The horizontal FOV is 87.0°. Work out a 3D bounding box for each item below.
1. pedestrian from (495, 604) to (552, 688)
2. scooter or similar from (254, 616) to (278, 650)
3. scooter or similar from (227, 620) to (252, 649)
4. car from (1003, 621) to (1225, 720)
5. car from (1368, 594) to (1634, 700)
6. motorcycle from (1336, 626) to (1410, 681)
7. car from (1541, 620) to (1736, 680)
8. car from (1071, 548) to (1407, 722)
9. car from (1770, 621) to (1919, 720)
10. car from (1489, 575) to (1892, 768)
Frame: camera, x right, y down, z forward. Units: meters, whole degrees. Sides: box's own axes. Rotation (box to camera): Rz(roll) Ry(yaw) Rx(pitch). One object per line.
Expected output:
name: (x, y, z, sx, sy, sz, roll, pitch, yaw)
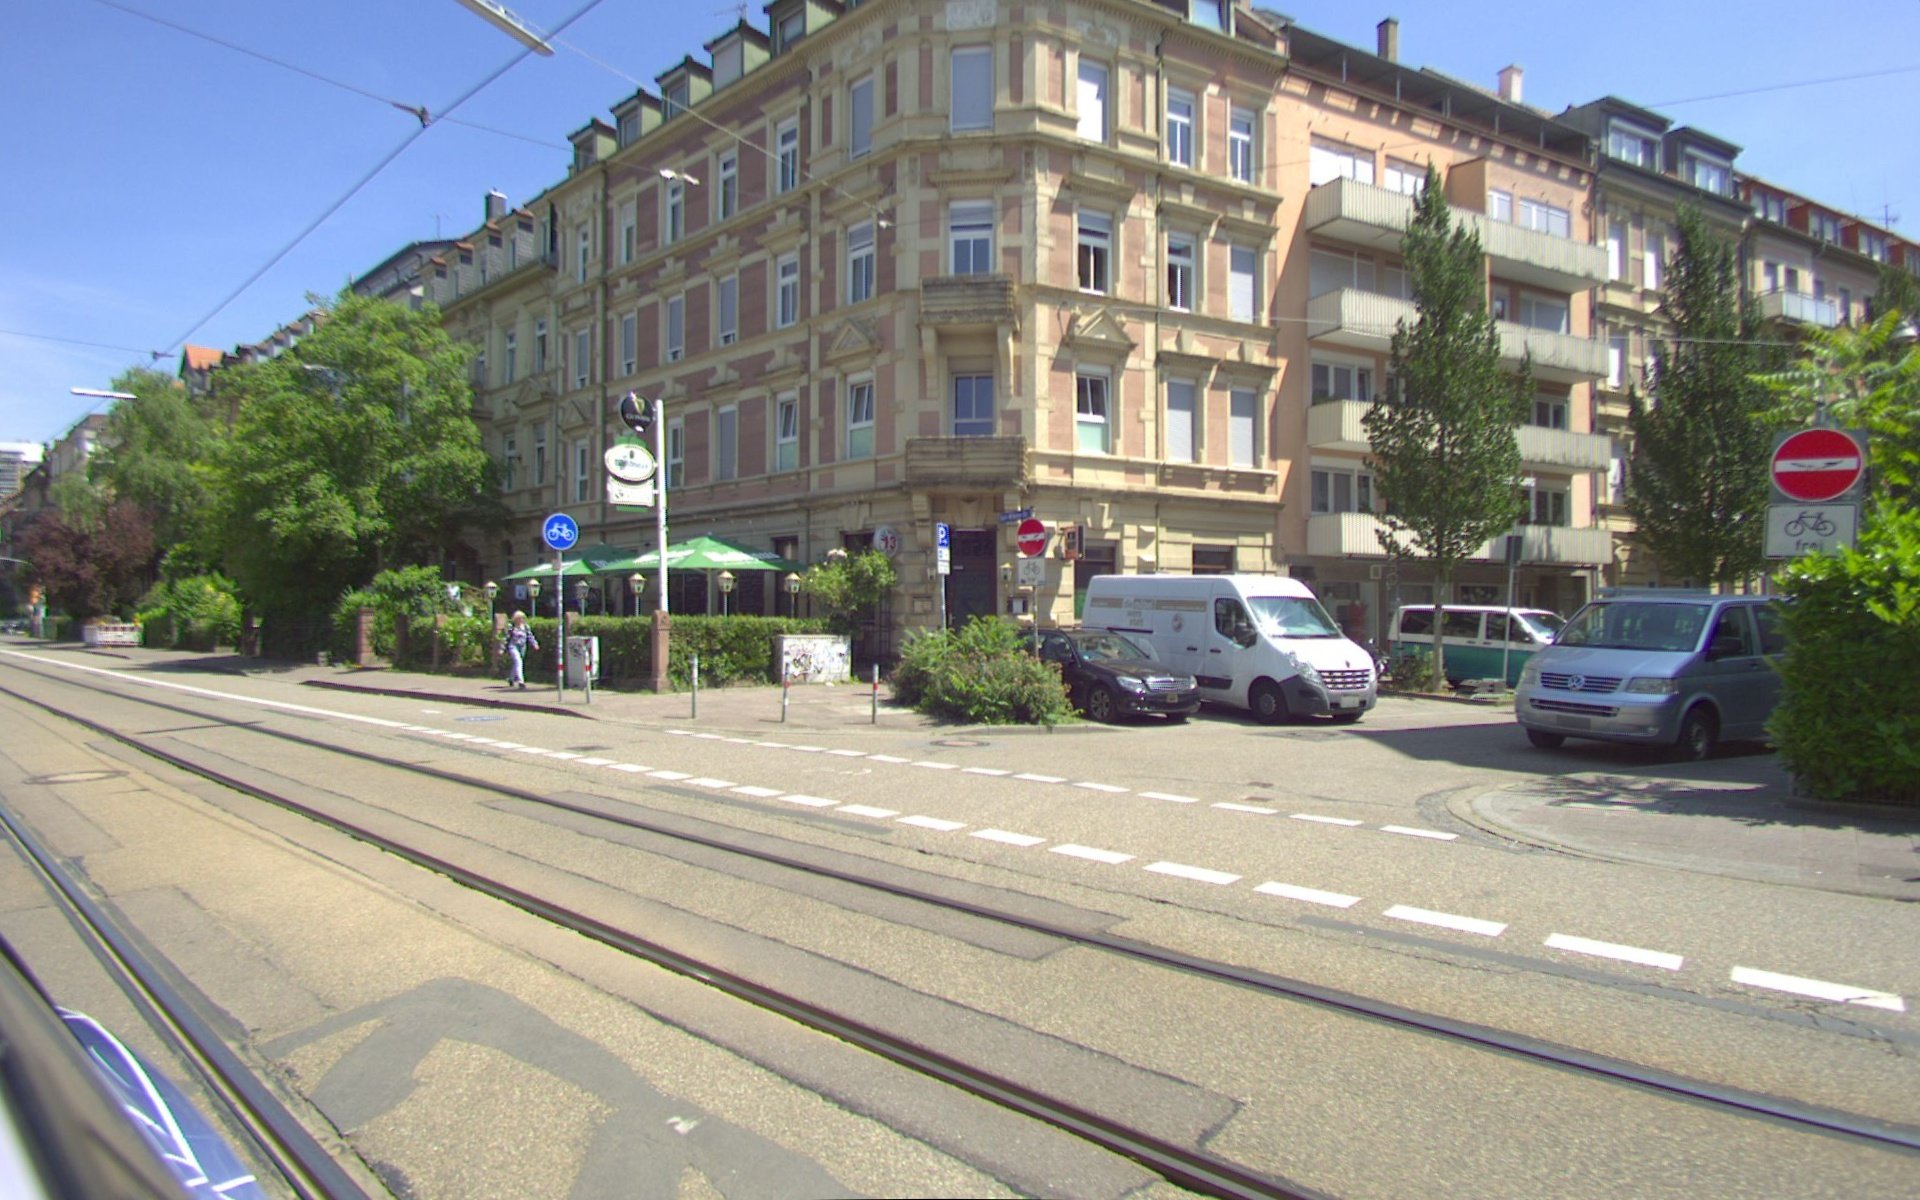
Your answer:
pedestrian: (-8.794, 0.912, 20.388, 0.940, 1.654, 0.732, -1, -2, 44)
scooter or similar: (-29.242, 1.400, 42.642, 0.693, 1.410, 0.610, -1, -1, 31)
scooter or similar: (-29.403, 1.400, 41.311, 0.693, 1.166, 0.610, -1, -1, 31)
car: (2.444, 1.086, 16.942, 1.568, 1.449, 3.768, 1, -1, -33)
car: (12.030, 0.995, 22.916, 2.089, 2.105, 4.962, 1, -1, -29)
motorcycle: (10.788, 1.383, 26.386, 2.048, 1.368, 0.616, 0, -1, -28)
car: (17.678, 1.250, 26.587, 1.621, 1.383, 4.013, 0, 0, -24)
car: (4.687, 0.592, 18.341, 2.089, 2.609, 6.208, 1, -2, -29)
car: (16.178, 1.133, 17.397, 3.979, 1.504, 2.006, 0, -1, -27)
car: (9.064, 0.782, 12.533, 4.624, 2.000, 2.163, 1, -2, -27)
